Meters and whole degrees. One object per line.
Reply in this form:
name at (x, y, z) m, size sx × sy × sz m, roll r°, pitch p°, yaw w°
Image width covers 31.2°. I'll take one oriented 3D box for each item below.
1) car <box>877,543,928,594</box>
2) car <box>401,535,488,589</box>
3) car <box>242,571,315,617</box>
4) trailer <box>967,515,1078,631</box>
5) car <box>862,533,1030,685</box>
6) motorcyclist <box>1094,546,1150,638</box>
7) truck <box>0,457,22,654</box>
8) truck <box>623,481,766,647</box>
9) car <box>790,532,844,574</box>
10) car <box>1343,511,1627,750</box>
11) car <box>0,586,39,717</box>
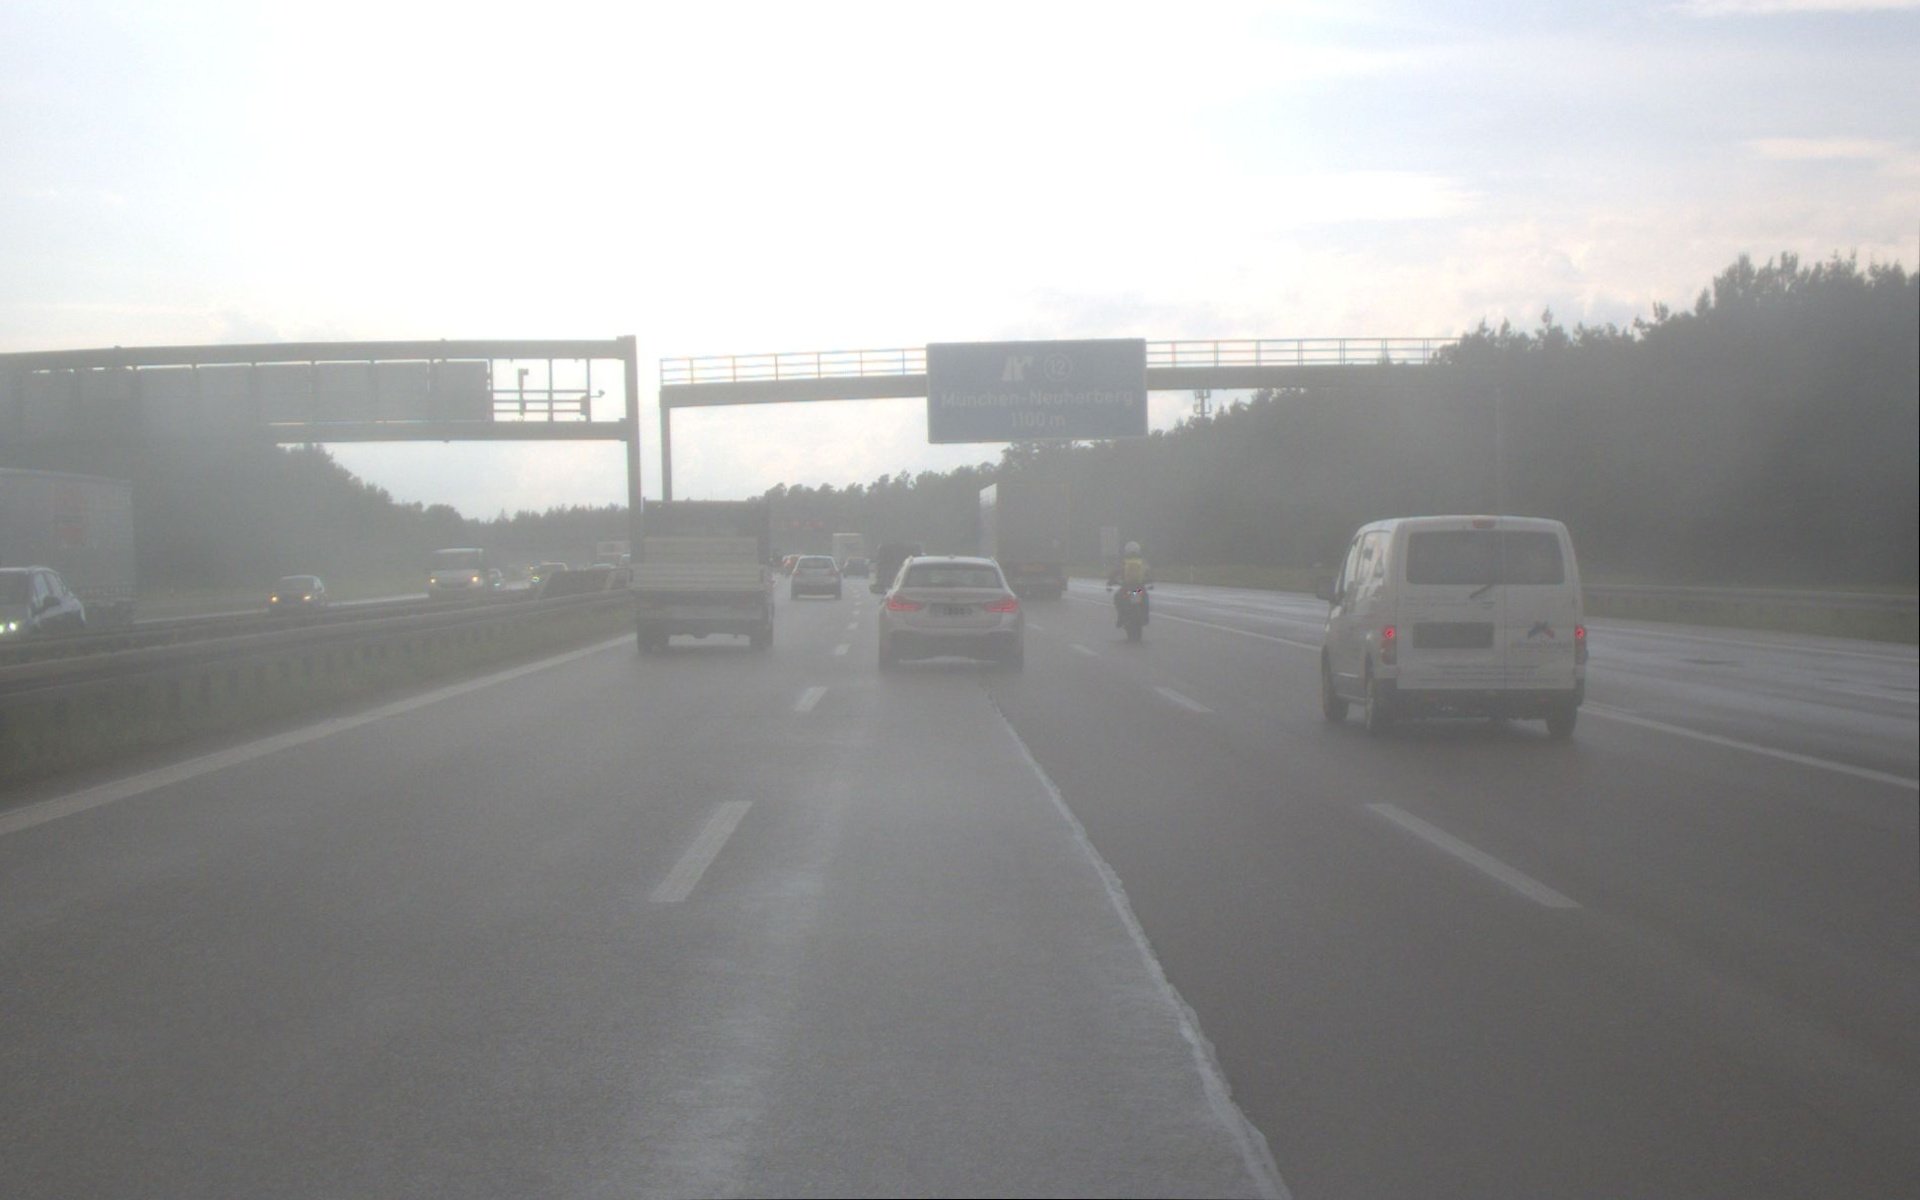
car at (-2.317, -1.258, 138.013) m, size 1.908 × 2.007 × 4.001 m, roll 0°, pitch 1°, yaw -3°
car at (-19.834, -1.466, 132.445) m, size 2.283 × 2.007 × 6.739 m, roll 0°, pitch 1°, yaw 0°
car at (-22.895, -0.222, 115.622) m, size 1.672 × 1.455 × 4.562 m, roll -1°, pitch 1°, yaw -2°
trailer at (2.177, -0.987, 125.502) m, size 2.323 × 3.988 × 13.414 m, roll 0°, pitch 0°, yaw -6°
car at (-0.150, 0.097, 45.253) m, size 2.078 × 1.878 × 5.011 m, roll 0°, pitch 0°, yaw 1°
motorcyclist at (2.834, -0.143, 60.188) m, size 0.891 × 1.609 × 0.959 m, roll 0°, pitch 0°, yaw -2°
truck at (-21.692, -0.961, 73.150) m, size 2.139 × 4.223 × 4.707 m, roll 1°, pitch 0°, yaw 0°
truck at (-4.171, -0.573, 54.317) m, size 2.137 × 2.480 × 5.313 m, roll 0°, pitch 1°, yaw -4°
car at (-4.970, -1.633, 119.767) m, size 1.831 × 1.461 × 4.000 m, roll 0°, pitch 1°, yaw -2°
car at (4.445, 0.205, 29.789) m, size 1.964 × 1.895 × 4.881 m, roll 0°, pitch 1°, yaw 3°
car at (-13.321, 0.688, 44.352) m, size 1.859 × 1.656 × 4.473 m, roll 0°, pitch 1°, yaw -3°
